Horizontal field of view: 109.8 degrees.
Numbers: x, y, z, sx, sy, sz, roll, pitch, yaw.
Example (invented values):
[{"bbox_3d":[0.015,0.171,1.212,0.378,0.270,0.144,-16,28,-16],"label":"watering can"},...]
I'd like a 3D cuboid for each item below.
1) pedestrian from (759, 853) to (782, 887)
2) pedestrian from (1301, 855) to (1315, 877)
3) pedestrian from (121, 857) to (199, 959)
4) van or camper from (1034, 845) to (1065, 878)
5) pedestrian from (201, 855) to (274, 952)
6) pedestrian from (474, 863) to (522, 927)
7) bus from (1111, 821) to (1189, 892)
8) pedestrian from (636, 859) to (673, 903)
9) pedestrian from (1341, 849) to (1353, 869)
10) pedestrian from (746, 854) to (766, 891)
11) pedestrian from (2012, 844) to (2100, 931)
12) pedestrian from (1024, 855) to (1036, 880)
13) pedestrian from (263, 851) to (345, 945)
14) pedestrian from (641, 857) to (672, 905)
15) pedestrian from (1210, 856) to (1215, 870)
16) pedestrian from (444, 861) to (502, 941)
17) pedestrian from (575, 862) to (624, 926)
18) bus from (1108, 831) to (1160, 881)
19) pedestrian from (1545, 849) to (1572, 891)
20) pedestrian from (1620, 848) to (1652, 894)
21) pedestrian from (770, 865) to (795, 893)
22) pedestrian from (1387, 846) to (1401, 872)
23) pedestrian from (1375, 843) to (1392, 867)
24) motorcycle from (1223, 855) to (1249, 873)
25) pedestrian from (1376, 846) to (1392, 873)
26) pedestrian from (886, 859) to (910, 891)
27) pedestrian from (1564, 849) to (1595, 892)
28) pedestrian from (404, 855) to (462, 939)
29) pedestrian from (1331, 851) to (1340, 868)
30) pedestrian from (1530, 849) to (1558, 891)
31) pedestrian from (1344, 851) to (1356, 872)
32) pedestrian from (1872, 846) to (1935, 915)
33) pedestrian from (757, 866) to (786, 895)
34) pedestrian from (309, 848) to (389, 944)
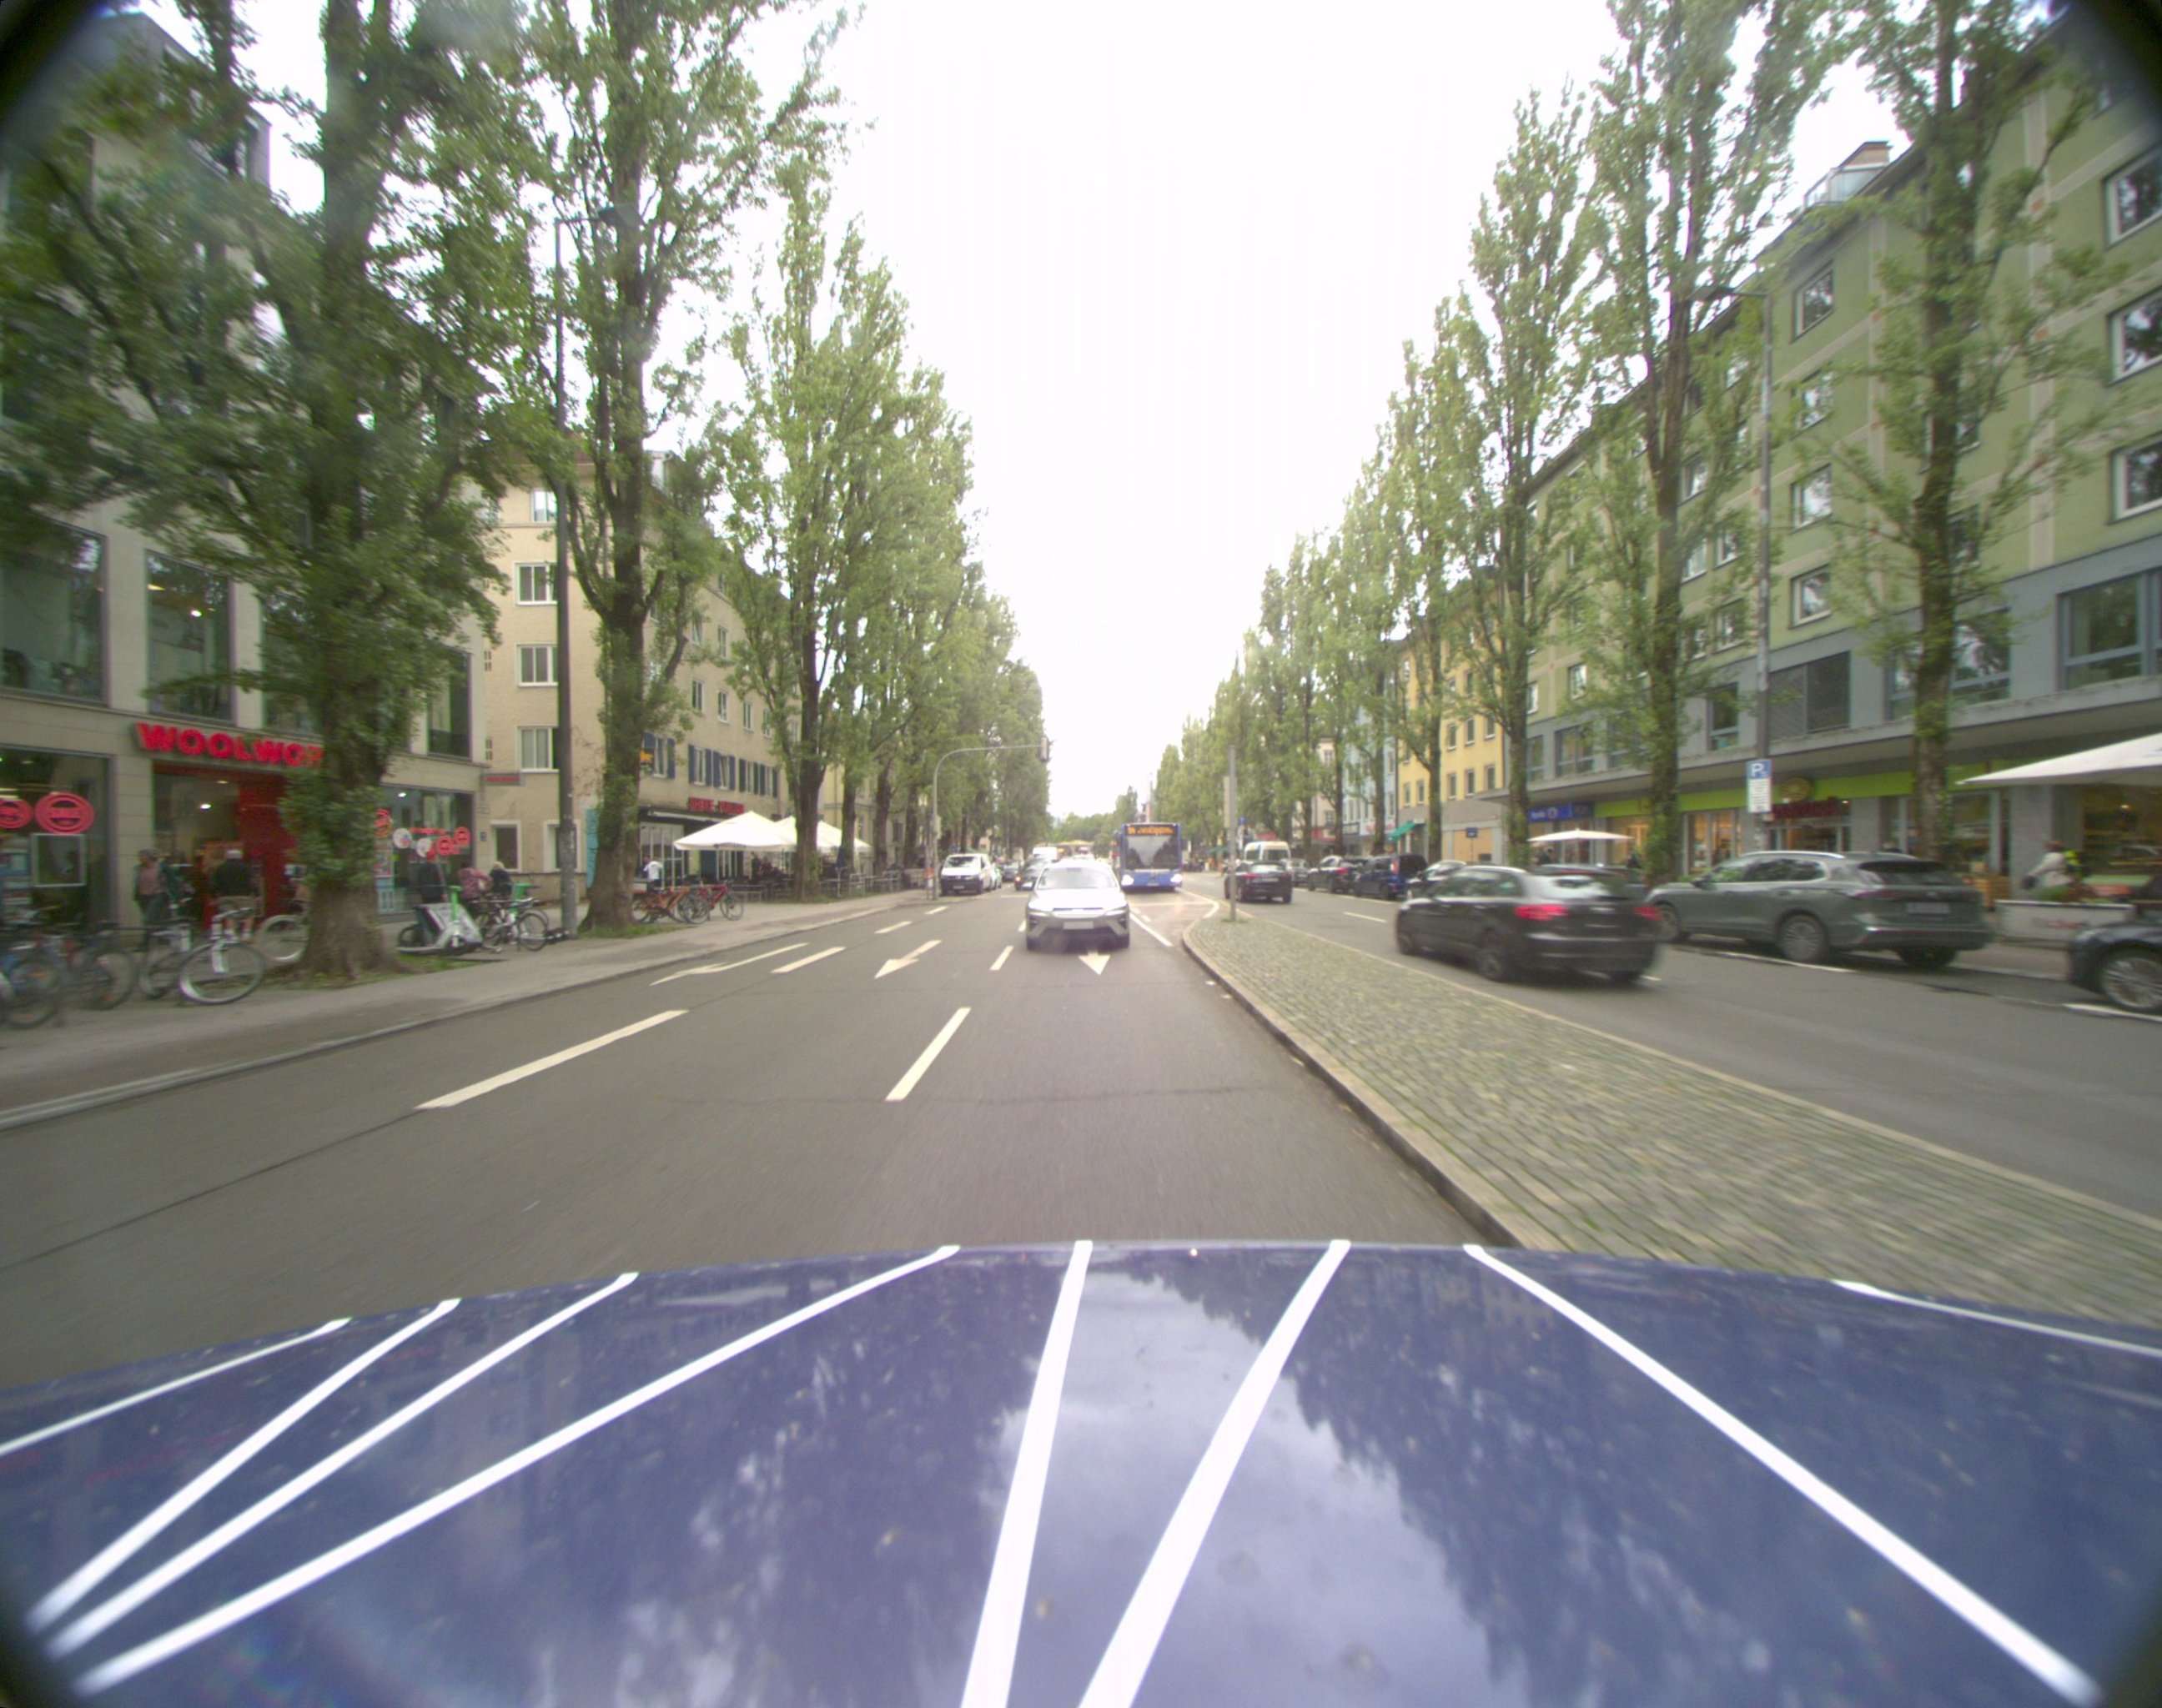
[{"bbox_3d":[-14.735,0.749,36.043,0.696,1.568,0.874,-1,0,1],"label":"pedestrian"},{"bbox_3d":[15.315,0.814,51.274,0.611,1.430,0.676,-1,1,-40],"label":"pedestrian"},{"bbox_3d":[-16.370,0.936,13.520,0.547,1.757,0.642,-1,0,2],"label":"pedestrian"},{"bbox_3d":[-2.462,0.590,60.964,1.998,2.470,6.644,-1,0,1],"label":"van or camper"},{"bbox_3d":[-15.670,0.896,14.125,0.595,1.757,0.641,-1,0,-9],"label":"pedestrian"},{"bbox_3d":[-14.258,0.998,18.604,0.566,1.511,0.697,-1,0,4],"label":"pedestrian"},{"bbox_3d":[3.087,0.108,37.601,2.806,2.886,12.857,-1,0,0],"label":"bus"},{"bbox_3d":[-15.988,1.001,28.527,0.764,1.594,1.016,-1,0,1],"label":"pedestrian"},{"bbox_3d":[21.618,0.387,61.693,0.723,1.641,0.706,0,0,1],"label":"pedestrian"},{"bbox_3d":[-15.427,0.856,36.063,0.629,1.709,0.681,-1,0,1],"label":"pedestrian"},{"bbox_3d":[19.998,0.666,15.598,0.820,1.744,0.756,-1,1,1],"label":"pedestrian"},{"bbox_3d":[-3.683,0.977,54.664,0.791,1.747,0.769,-1,1,-5],"label":"pedestrian"},{"bbox_3d":[-15.681,0.863,15.352,0.753,1.843,0.821,-1,0,2],"label":"pedestrian"},{"bbox_3d":[-14.773,0.931,26.455,0.668,1.654,0.692,-1,0,0],"label":"pedestrian"},{"bbox_3d":[15.412,1.059,89.180,0.609,1.580,0.551,0,1,12],"label":"pedestrian"},{"bbox_3d":[-12.840,0.969,16.054,0.547,1.639,0.751,-1,0,4],"label":"pedestrian"},{"bbox_3d":[-12.320,1.004,19.460,0.711,1.580,0.793,1,0,4],"label":"pedestrian"},{"bbox_3d":[3.287,0.120,50.469,2.806,2.886,12.858,-1,0,1],"label":"bus"},{"bbox_3d":[20.532,0.670,32.680,0.749,1.784,0.716,-1,1,1],"label":"pedestrian"},{"bbox_3d":[21.317,0.650,29.209,0.723,1.744,0.716,-1,1,1],"label":"pedestrian"},{"bbox_3d":[-13.454,1.118,34.275,0.667,1.209,1.023,-1,0,4],"label":"pedestrian"},{"bbox_3d":[20.778,0.324,50.435,0.640,1.694,0.724,-1,0,1],"label":"pedestrian"},{"bbox_3d":[18.305,0.085,45.955,0.769,1.430,0.551,-1,1,-4],"label":"pedestrian"},{"bbox_3d":[12.773,0.808,62.549,2.023,1.413,0.570,0,1,-6],"label":"motorcycle"},{"bbox_3d":[20.024,0.345,50.245,0.732,1.755,0.724,-1,0,0],"label":"pedestrian"},{"bbox_3d":[-10.276,1.189,42.692,0.941,1.756,0.837,-1,0,39],"label":"pedestrian"},{"bbox_3d":[19.065,0.630,29.066,0.723,1.641,0.712,0,0,1],"label":"pedestrian"},{"bbox_3d":[-13.768,0.903,16.148,0.566,1.732,0.697,-1,0,4],"label":"pedestrian"},{"bbox_3d":[21.385,0.444,63.885,0.609,1.430,0.551,-1,1,1],"label":"pedestrian"},{"bbox_3d":[19.904,0.692,32.681,0.749,1.784,0.716,-1,1,1],"label":"pedestrian"},{"bbox_3d":[19.136,0.540,54.108,0.649,1.430,0.551,-1,1,-4],"label":"pedestrian"},{"bbox_3d":[20.109,0.637,18.591,0.710,1.663,0.756,-1,1,1],"label":"pedestrian"},{"bbox_3d":[-13.486,1.139,33.151,0.775,1.209,1.023,-1,0,4],"label":"pedestrian"},{"bbox_3d":[-14.519,0.808,15.098,0.753,1.859,0.821,0,0,4],"label":"pedestrian"}]
